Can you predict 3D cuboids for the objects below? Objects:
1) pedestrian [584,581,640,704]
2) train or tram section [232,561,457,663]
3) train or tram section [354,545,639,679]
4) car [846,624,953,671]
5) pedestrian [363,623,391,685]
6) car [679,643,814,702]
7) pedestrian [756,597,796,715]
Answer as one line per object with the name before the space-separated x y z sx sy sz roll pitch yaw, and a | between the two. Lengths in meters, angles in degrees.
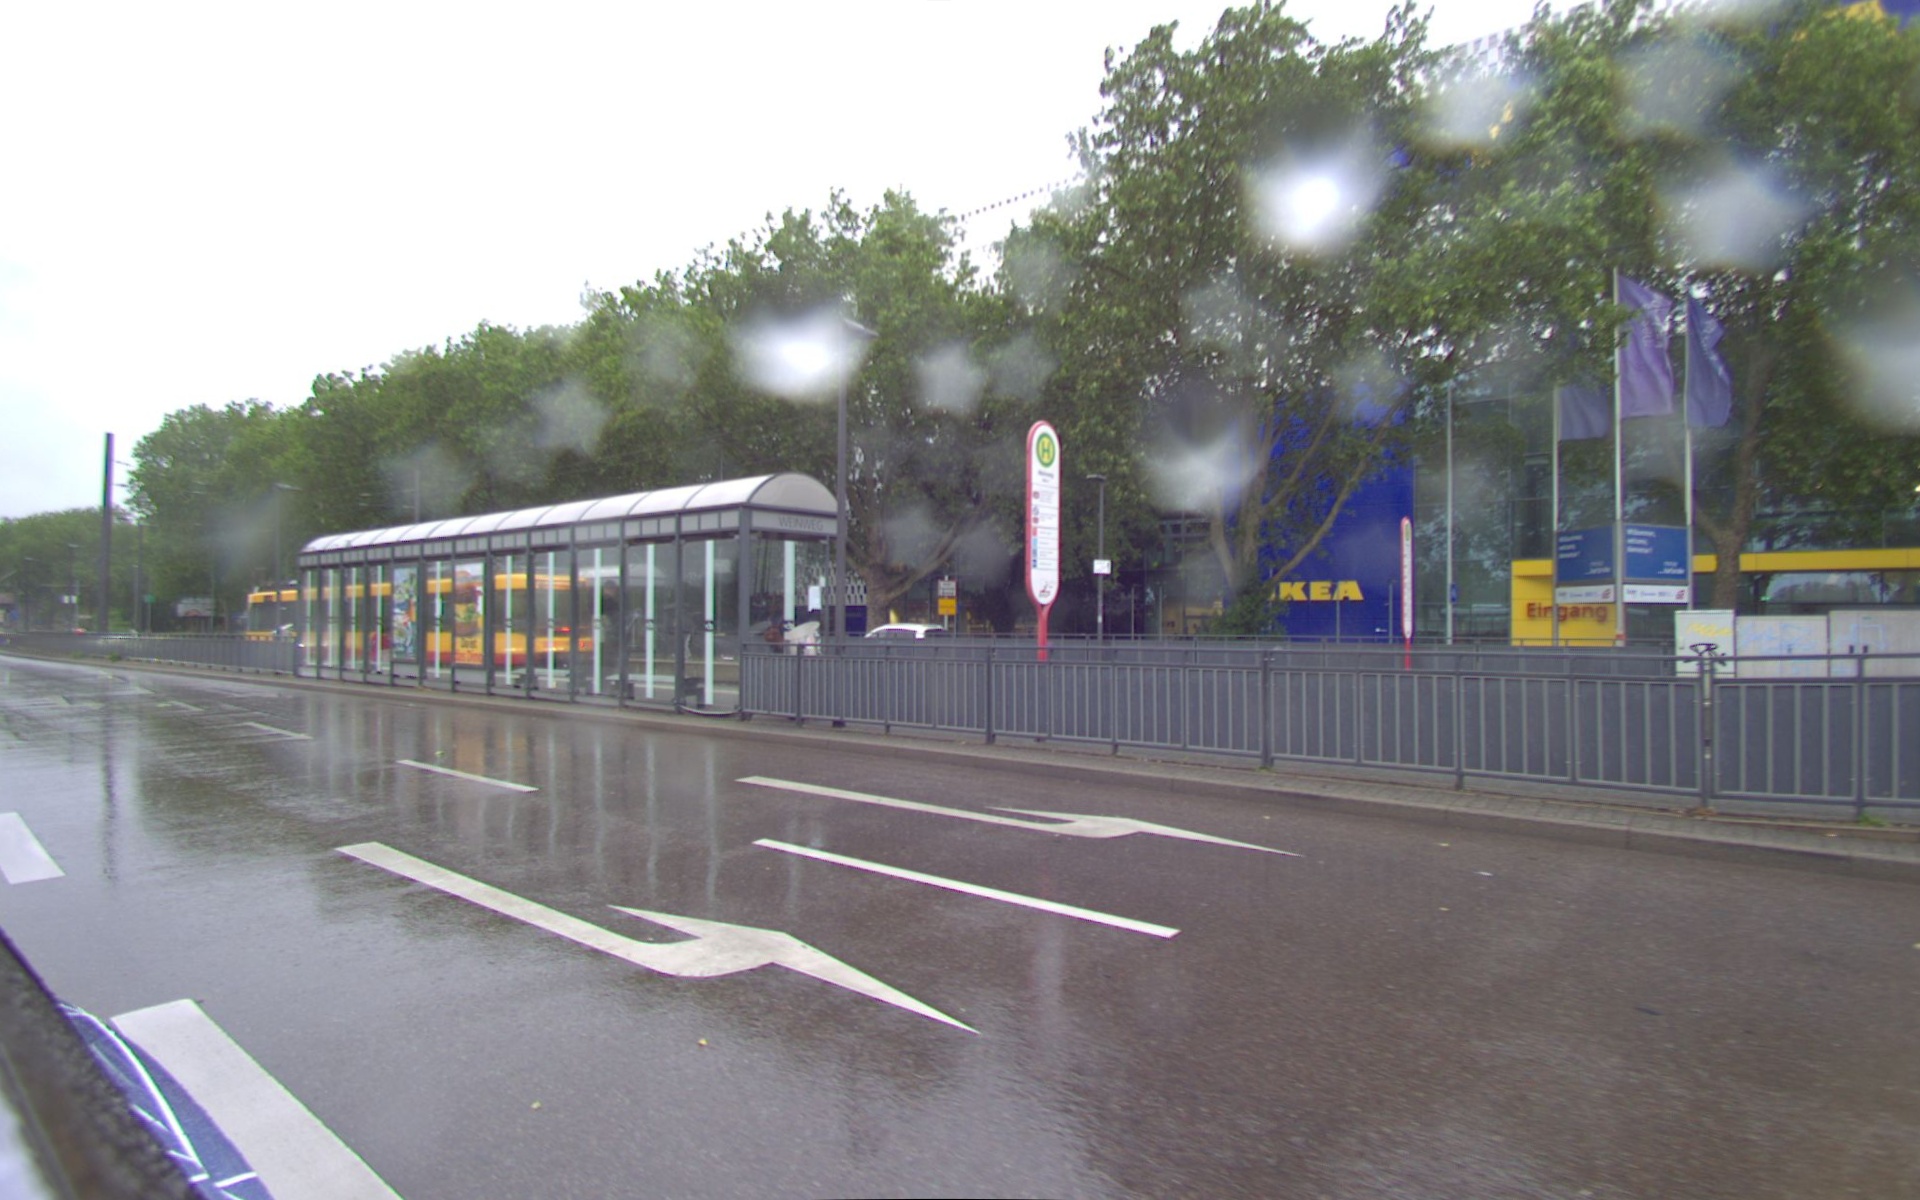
pedestrian | -5.548 0.658 16.109 0.646 1.885 0.774 -1 0 -33
train or tram section | -27.370 0.497 44.321 15.561 3.827 3.703 -1 0 40
train or tram section | -16.418 0.374 34.951 13.245 3.868 3.703 -1 0 40
car | -2.098 1.581 34.651 3.421 1.475 1.567 -1 0 35
pedestrian | -11.939 1.094 20.731 0.451 1.245 0.468 0 0 -35
car | -5.384 1.758 25.359 3.548 1.329 1.519 -1 -2 42
pedestrian | -2.408 0.718 13.259 0.317 1.504 0.416 -2 1 -44
